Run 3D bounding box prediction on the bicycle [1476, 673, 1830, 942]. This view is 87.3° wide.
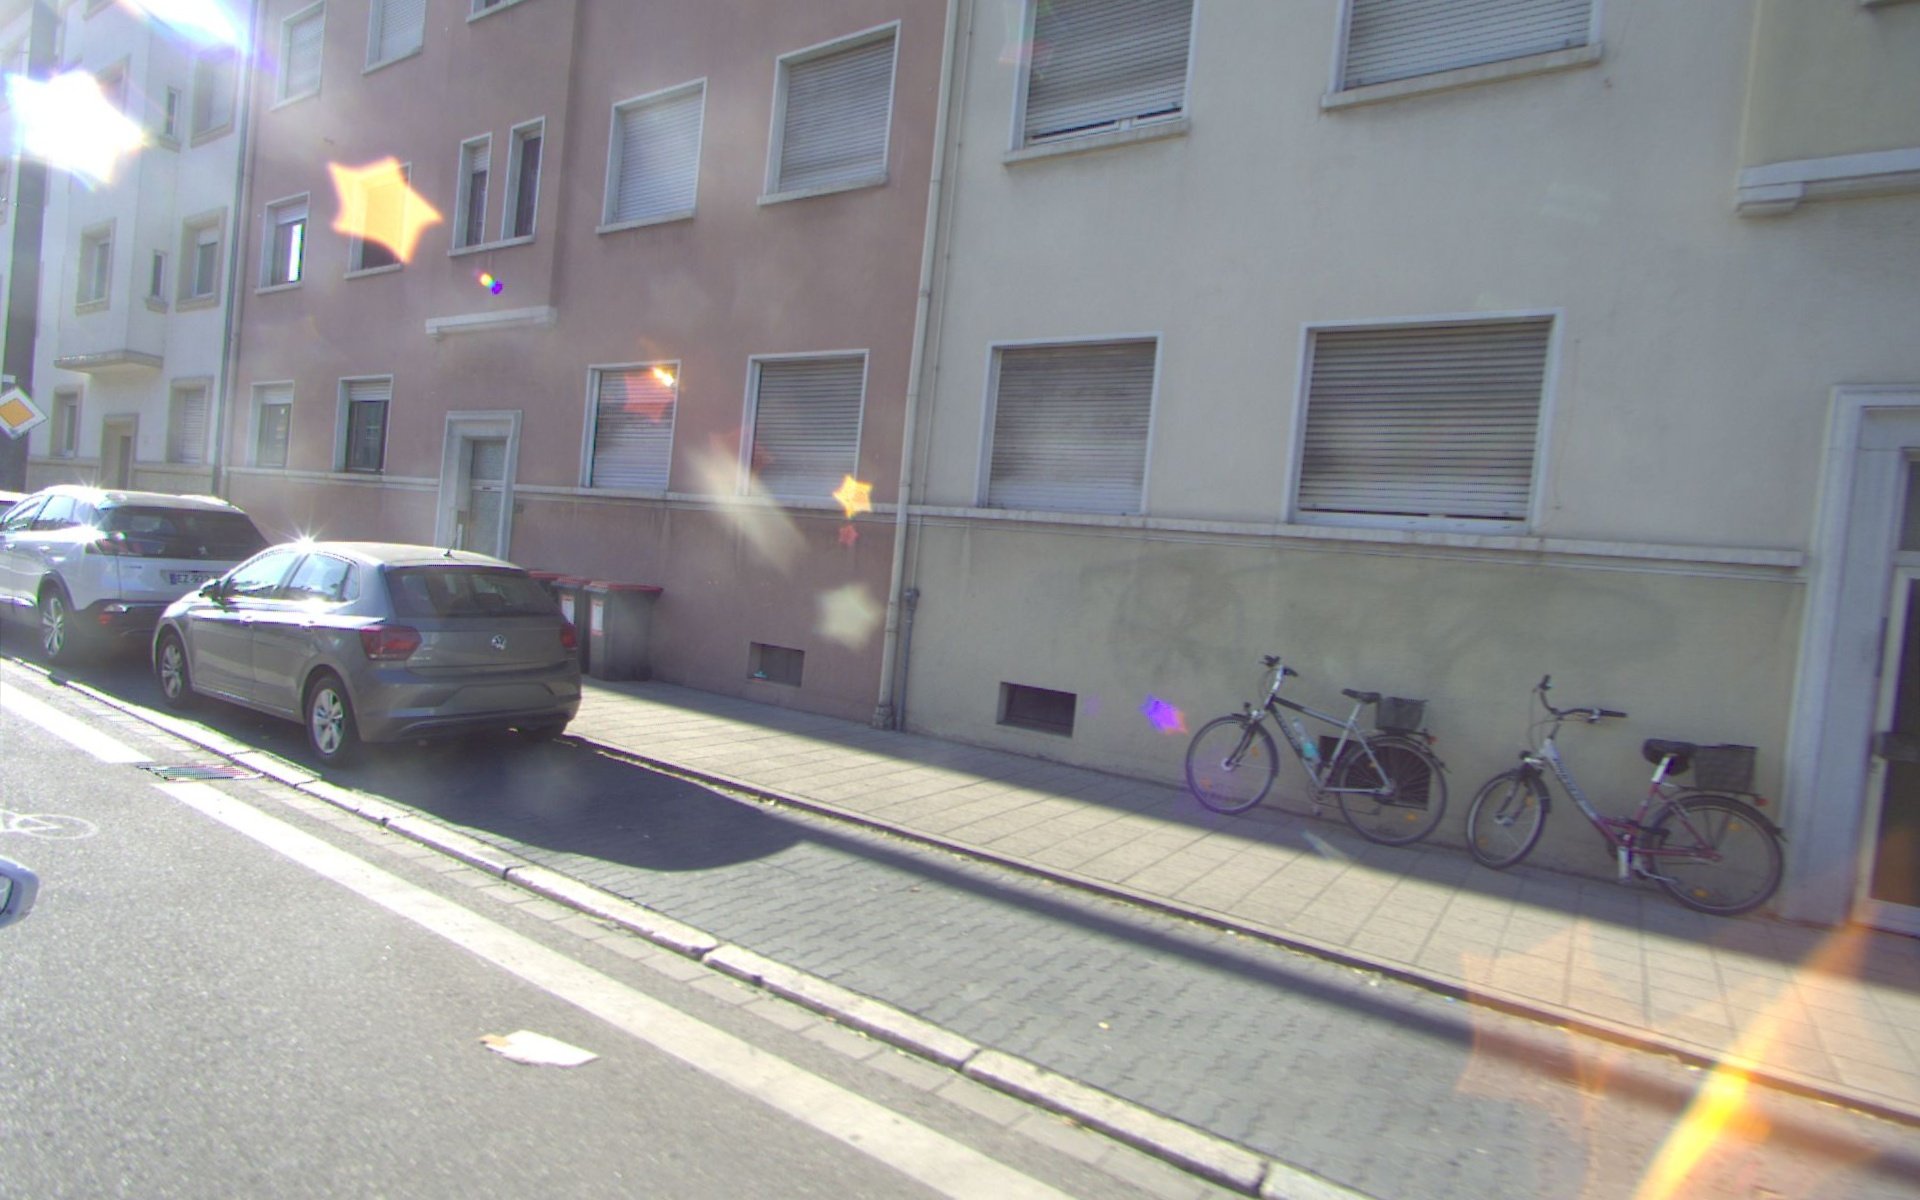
[{"bbox_3d":[3.984,1.135,5.907,1.532,1.208,0.513,7,2,35],"label":"bicycle"}]

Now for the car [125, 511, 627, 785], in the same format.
[{"bbox_3d":[-4.692,0.212,7.904,4.027,1.491,1.772,6,3,33],"label":"car"}]

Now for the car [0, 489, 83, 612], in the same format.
[{"bbox_3d":[-12.818,-0.733,13.016,3.400,1.445,1.500,6,3,36],"label":"car"}]

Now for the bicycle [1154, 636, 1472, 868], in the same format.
[{"bbox_3d":[2.373,0.953,6.892,1.852,1.209,0.629,7,3,35],"label":"bicycle"}]

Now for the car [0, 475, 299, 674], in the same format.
[{"bbox_3d":[-8.856,-0.361,10.490,4.115,1.666,1.661,6,3,32],"label":"car"}]
